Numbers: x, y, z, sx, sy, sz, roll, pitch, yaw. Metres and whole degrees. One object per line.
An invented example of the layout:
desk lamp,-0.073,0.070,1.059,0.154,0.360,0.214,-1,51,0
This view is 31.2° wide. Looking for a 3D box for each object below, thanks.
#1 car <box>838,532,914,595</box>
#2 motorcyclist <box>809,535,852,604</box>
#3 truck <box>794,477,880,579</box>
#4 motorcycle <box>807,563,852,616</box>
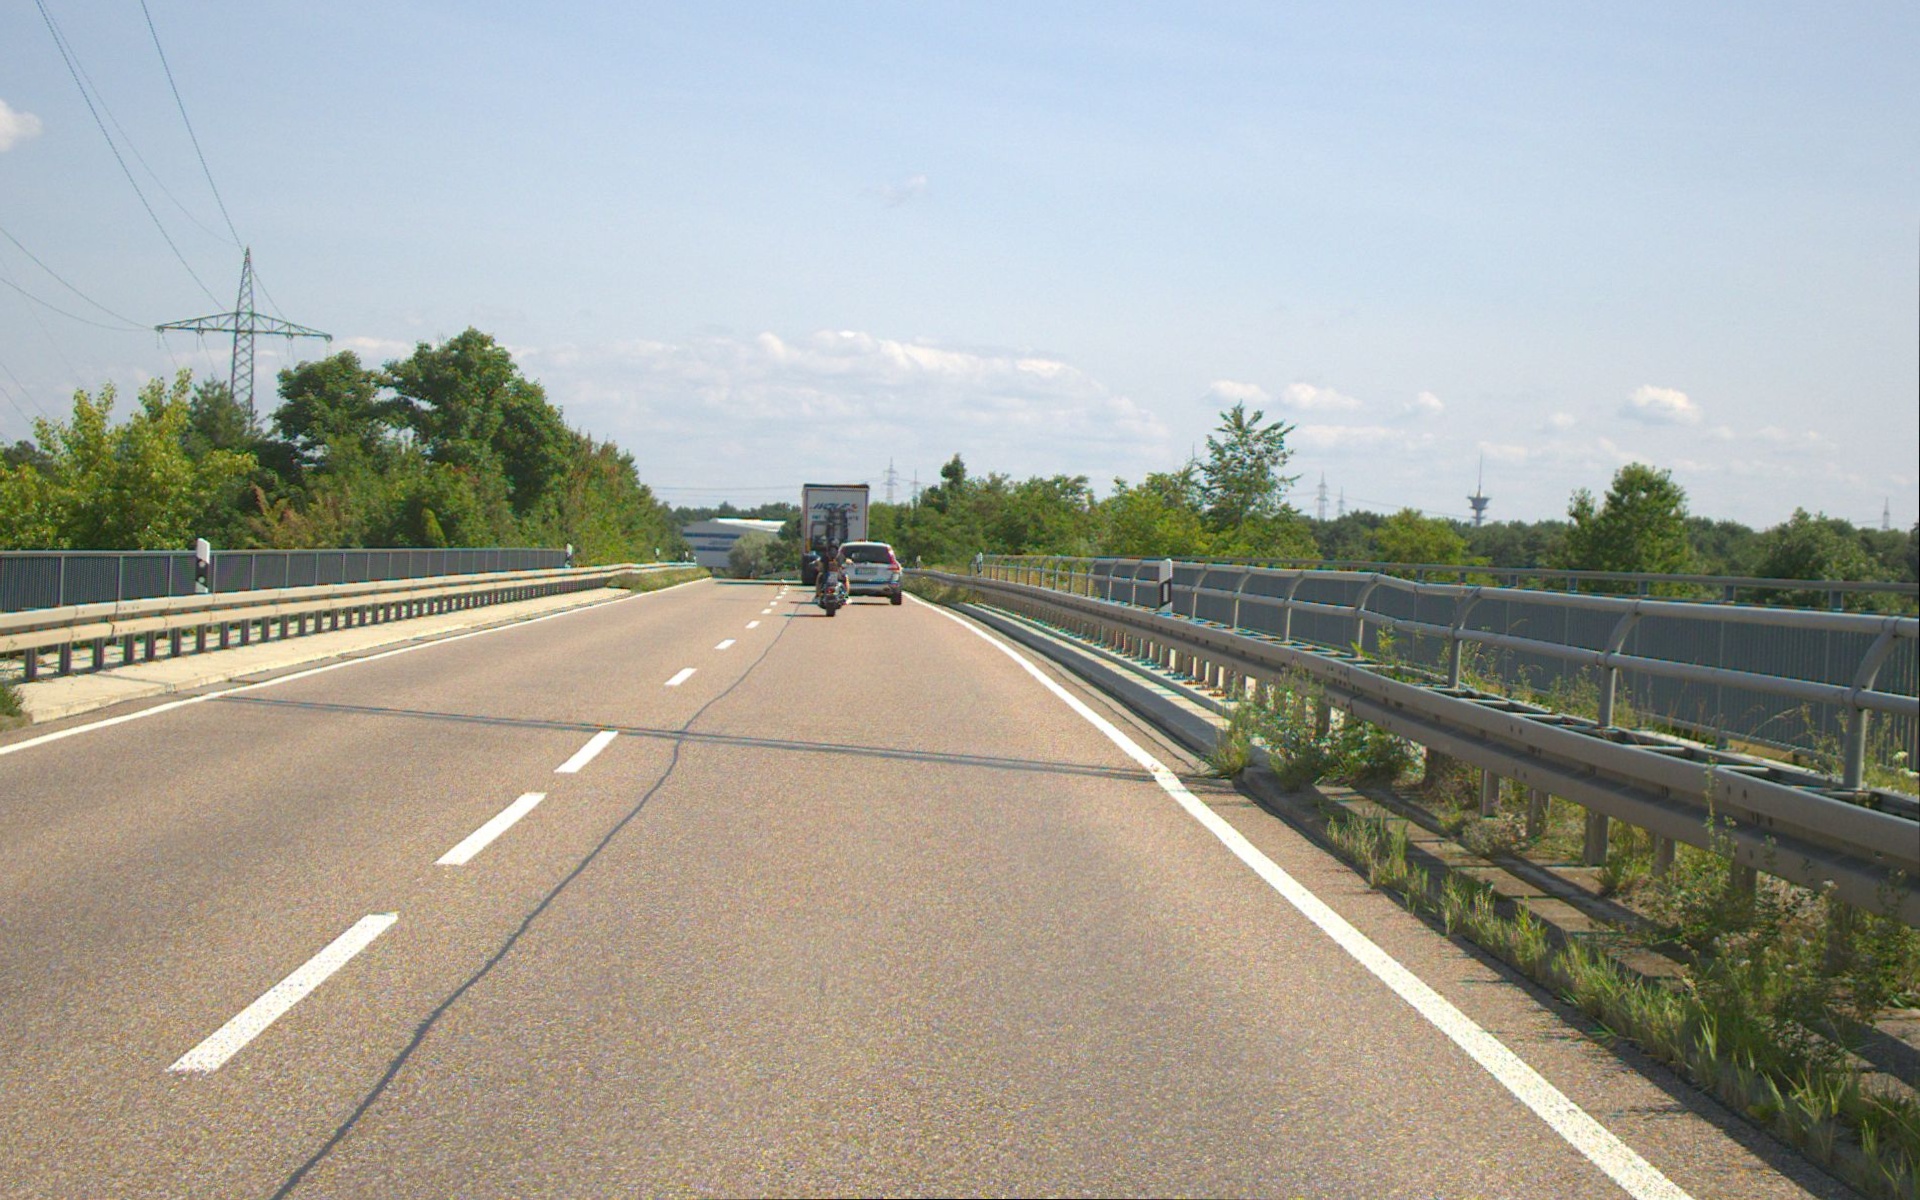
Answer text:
car,-2.077,-0.924,85.817,1.825,1.446,4.000,1,2,-1
motorcyclist,-2.555,-0.603,67.886,0.780,1.321,0.813,1,2,0
truck,-4.948,-2.932,140.167,3.241,3.965,9.444,1,1,-1
motorcycle,-2.574,-0.213,67.876,0.780,0.972,2.361,1,2,0
